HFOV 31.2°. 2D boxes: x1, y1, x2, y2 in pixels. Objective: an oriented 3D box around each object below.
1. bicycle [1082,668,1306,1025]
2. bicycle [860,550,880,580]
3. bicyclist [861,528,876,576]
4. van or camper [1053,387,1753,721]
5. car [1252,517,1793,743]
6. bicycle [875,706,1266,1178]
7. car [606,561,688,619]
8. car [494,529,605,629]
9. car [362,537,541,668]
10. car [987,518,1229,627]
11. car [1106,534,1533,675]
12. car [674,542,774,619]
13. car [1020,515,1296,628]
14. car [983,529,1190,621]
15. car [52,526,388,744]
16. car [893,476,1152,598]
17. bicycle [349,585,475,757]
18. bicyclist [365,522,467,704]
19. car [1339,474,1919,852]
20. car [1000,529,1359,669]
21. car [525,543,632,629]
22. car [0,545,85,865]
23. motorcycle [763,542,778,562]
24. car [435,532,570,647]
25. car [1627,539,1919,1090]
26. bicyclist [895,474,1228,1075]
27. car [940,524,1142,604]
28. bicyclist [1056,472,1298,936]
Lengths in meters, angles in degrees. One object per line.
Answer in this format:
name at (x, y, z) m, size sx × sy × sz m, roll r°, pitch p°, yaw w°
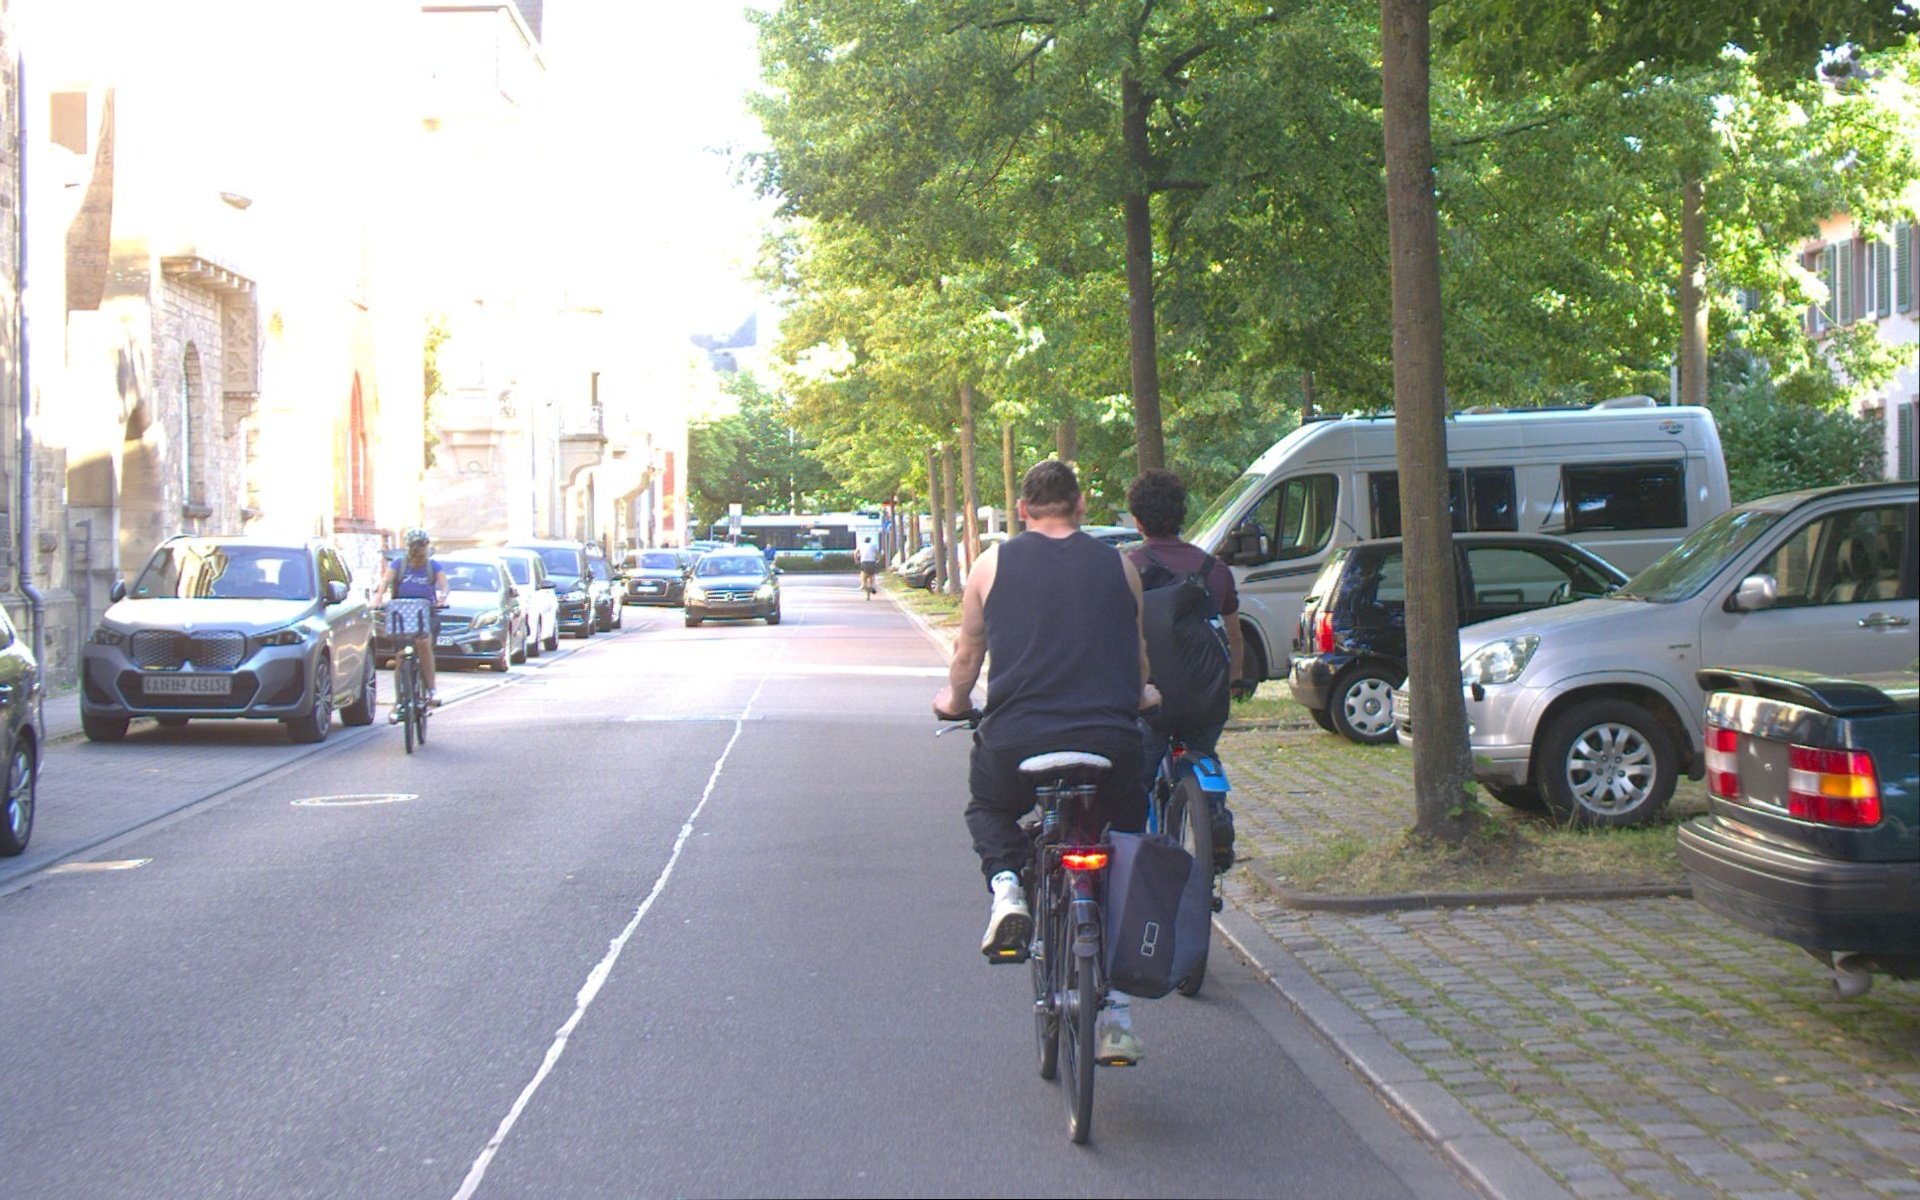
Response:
bicycle at (0.785, 0.809, 11.992) m, size 0.555 × 1.069 × 1.969 m, roll 0°, pitch 1°, yaw -3°
bicycle at (-2.529, -0.970, 96.562) m, size 0.541 × 0.825 × 1.919 m, roll 0°, pitch 0°, yaw -2°
bicyclist at (-2.573, -1.349, 96.797) m, size 0.417 × 1.346 × 0.430 m, roll 0°, pitch 0°, yaw -2°
van or camper at (3.740, -0.391, 29.766) m, size 5.573 × 2.528 × 2.269 m, roll -3°, pitch 0°, yaw -3°
car at (3.974, 0.206, 24.669) m, size 3.500 × 1.467 × 1.752 m, roll -2°, pitch 0°, yaw -3°
bicycle at (0.245, 0.851, 9.268) m, size 0.696 × 1.069 × 1.969 m, roll 0°, pitch 0°, yaw -9°
car at (-8.216, -0.252, 90.484) m, size 1.993 × 1.481 × 4.000 m, roll 0°, pitch 0°, yaw -3°
car at (-7.070, -0.355, 59.496) m, size 1.630 × 1.660 × 3.969 m, roll 0°, pitch 0°, yaw -3°
car at (-6.511, 0.014, 44.409) m, size 1.755 × 1.512 × 4.115 m, roll 3°, pitch 0°, yaw -2°
car at (2.650, -0.494, 62.380) m, size 4.243 × 1.833 × 1.855 m, roll -2°, pitch 0°, yaw -1°
car at (3.932, 0.046, 38.111) m, size 4.502 × 1.448 × 1.816 m, roll -1°, pitch 0°, yaw 0°
car at (-4.734, -0.367, 68.469) m, size 1.896 × 1.481 × 4.382 m, roll 0°, pitch 0°, yaw -5°
car at (3.129, -0.447, 54.980) m, size 4.243 × 1.642 × 1.855 m, roll -2°, pitch 0°, yaw -1°
car at (2.652, -0.526, 72.912) m, size 4.243 × 1.791 × 1.855 m, roll -2°, pitch 0°, yaw -1°
car at (-5.894, 0.265, 27.884) m, size 2.049 × 1.616 × 4.396 m, roll 0°, pitch 0°, yaw -4°
car at (1.774, -1.803, 99.701) m, size 7.332 × 3.271 × 2.223 m, roll -2°, pitch 0°, yaw -1°
bicycle at (-4.175, 0.513, 26.359) m, size 0.753 × 1.174 × 2.621 m, roll -2°, pitch 2°, yaw -5°
bicyclist at (-4.149, 0.082, 26.286) m, size 0.665 × 1.340 × 1.060 m, roll -2°, pitch 2°, yaw -5°
car at (4.359, 0.231, 17.559) m, size 4.475 × 1.664 × 1.943 m, roll -3°, pitch 2°, yaw -3°
car at (2.713, -0.014, 43.085) m, size 4.242 × 1.600 × 1.754 m, roll -2°, pitch 0°, yaw -5°
car at (-7.163, -0.270, 64.875) m, size 1.615 × 1.477 × 4.019 m, roll 3°, pitch 0°, yaw -2°
car at (-5.556, 0.517, 16.170) m, size 1.729 × 1.569 × 4.708 m, roll 0°, pitch 0°, yaw -1°
motorcycle at (-7.616, -1.930, 137.915) m, size 0.551 × 0.798 × 1.308 m, roll -1°, pitch 1°, yaw -4°
car at (-6.582, -0.164, 49.716) m, size 1.491 × 1.512 × 3.775 m, roll 3°, pitch 0°, yaw -2°
car at (4.659, 0.466, 10.146) m, size 4.893 × 1.437 × 1.942 m, roll -2°, pitch 0°, yaw -3°
bicyclist at (0.252, 0.440, 9.233) m, size 0.706 × 1.521 × 0.972 m, roll 0°, pitch 0°, yaw -10°
car at (1.937, -0.859, 82.993) m, size 4.757 × 1.774 × 1.855 m, roll -2°, pitch 0°, yaw -1°
bicyclist at (0.728, 0.341, 11.806) m, size 0.718 × 1.521 × 0.972 m, roll 0°, pitch 0°, yaw -3°
